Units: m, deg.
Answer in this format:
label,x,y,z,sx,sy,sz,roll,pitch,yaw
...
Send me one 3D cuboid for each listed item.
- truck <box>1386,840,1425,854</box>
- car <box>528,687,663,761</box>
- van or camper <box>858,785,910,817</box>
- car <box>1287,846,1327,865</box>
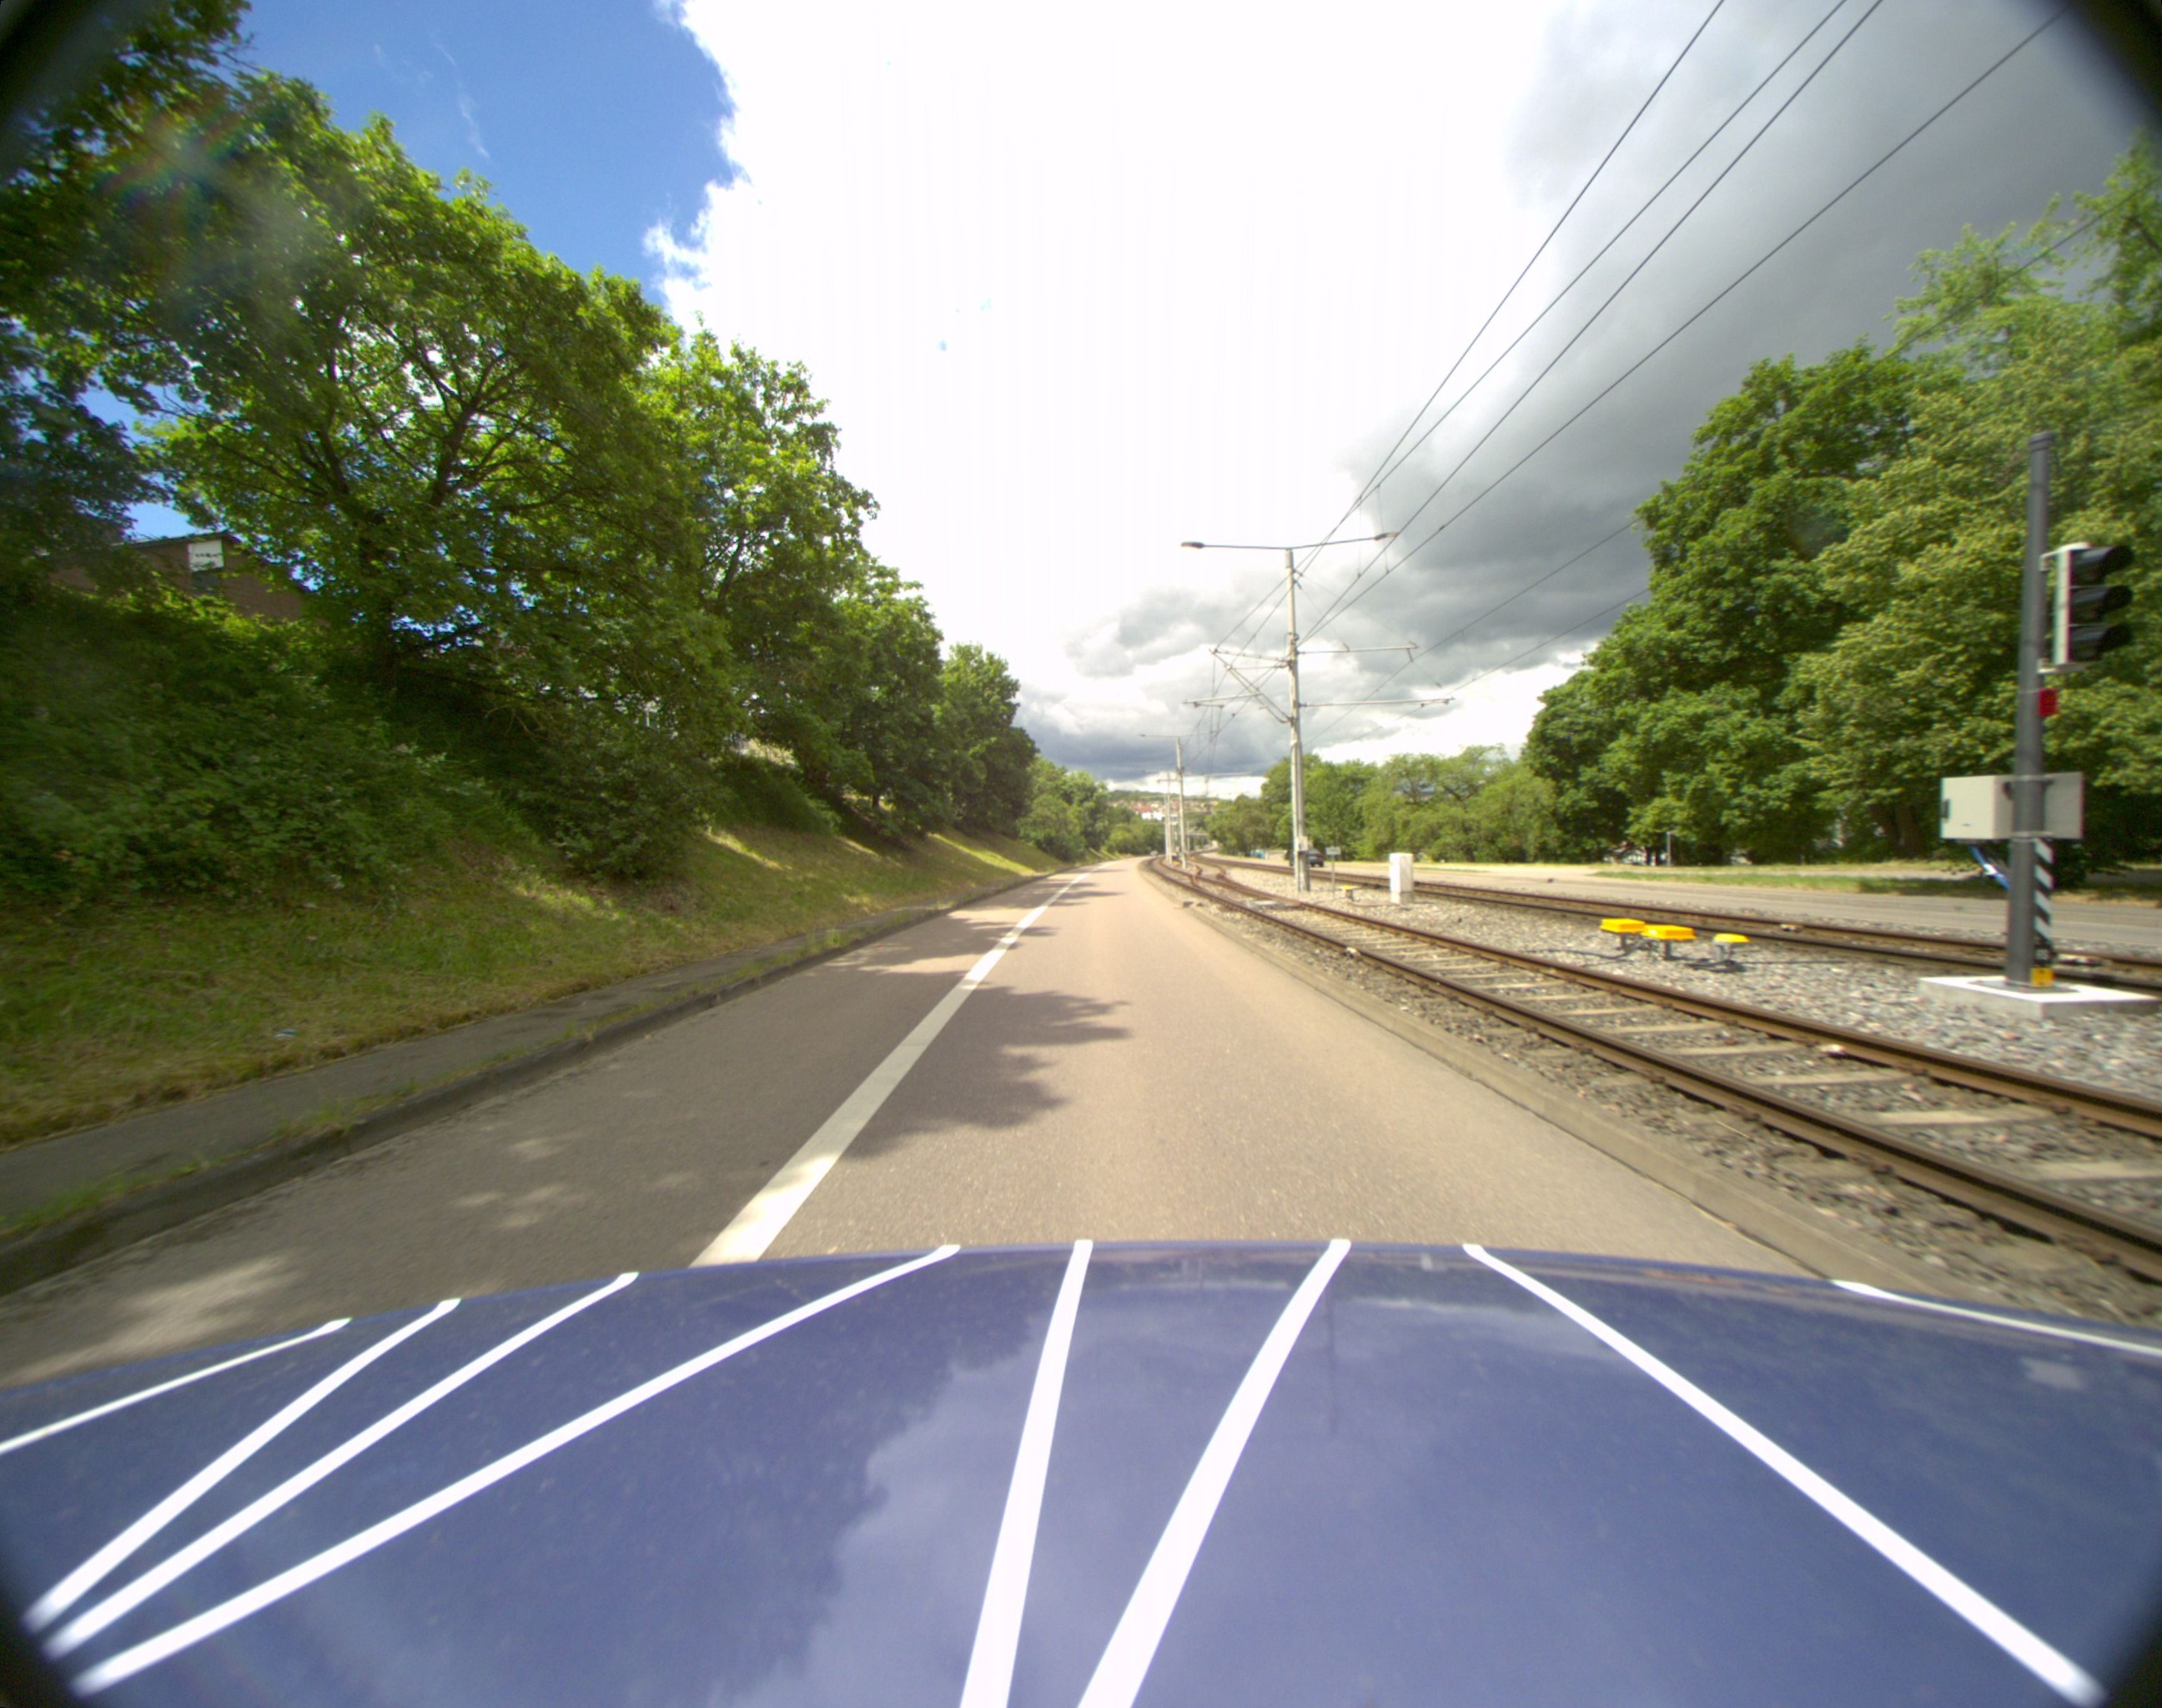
label,x,y,z,sx,sy,sz,roll,pitch,yaw
truck,64.033,-1.364,150.235,6.614,2.839,2.681,0,1,10
car,-15.663,-4.129,24.783,1.648,1.677,4.044,-2,0,2
van or camper,-15.061,-4.008,58.627,2.222,2.057,6.162,-2,0,1
car,16.825,0.089,56.789,1.840,1.383,4.862,0,0,3
